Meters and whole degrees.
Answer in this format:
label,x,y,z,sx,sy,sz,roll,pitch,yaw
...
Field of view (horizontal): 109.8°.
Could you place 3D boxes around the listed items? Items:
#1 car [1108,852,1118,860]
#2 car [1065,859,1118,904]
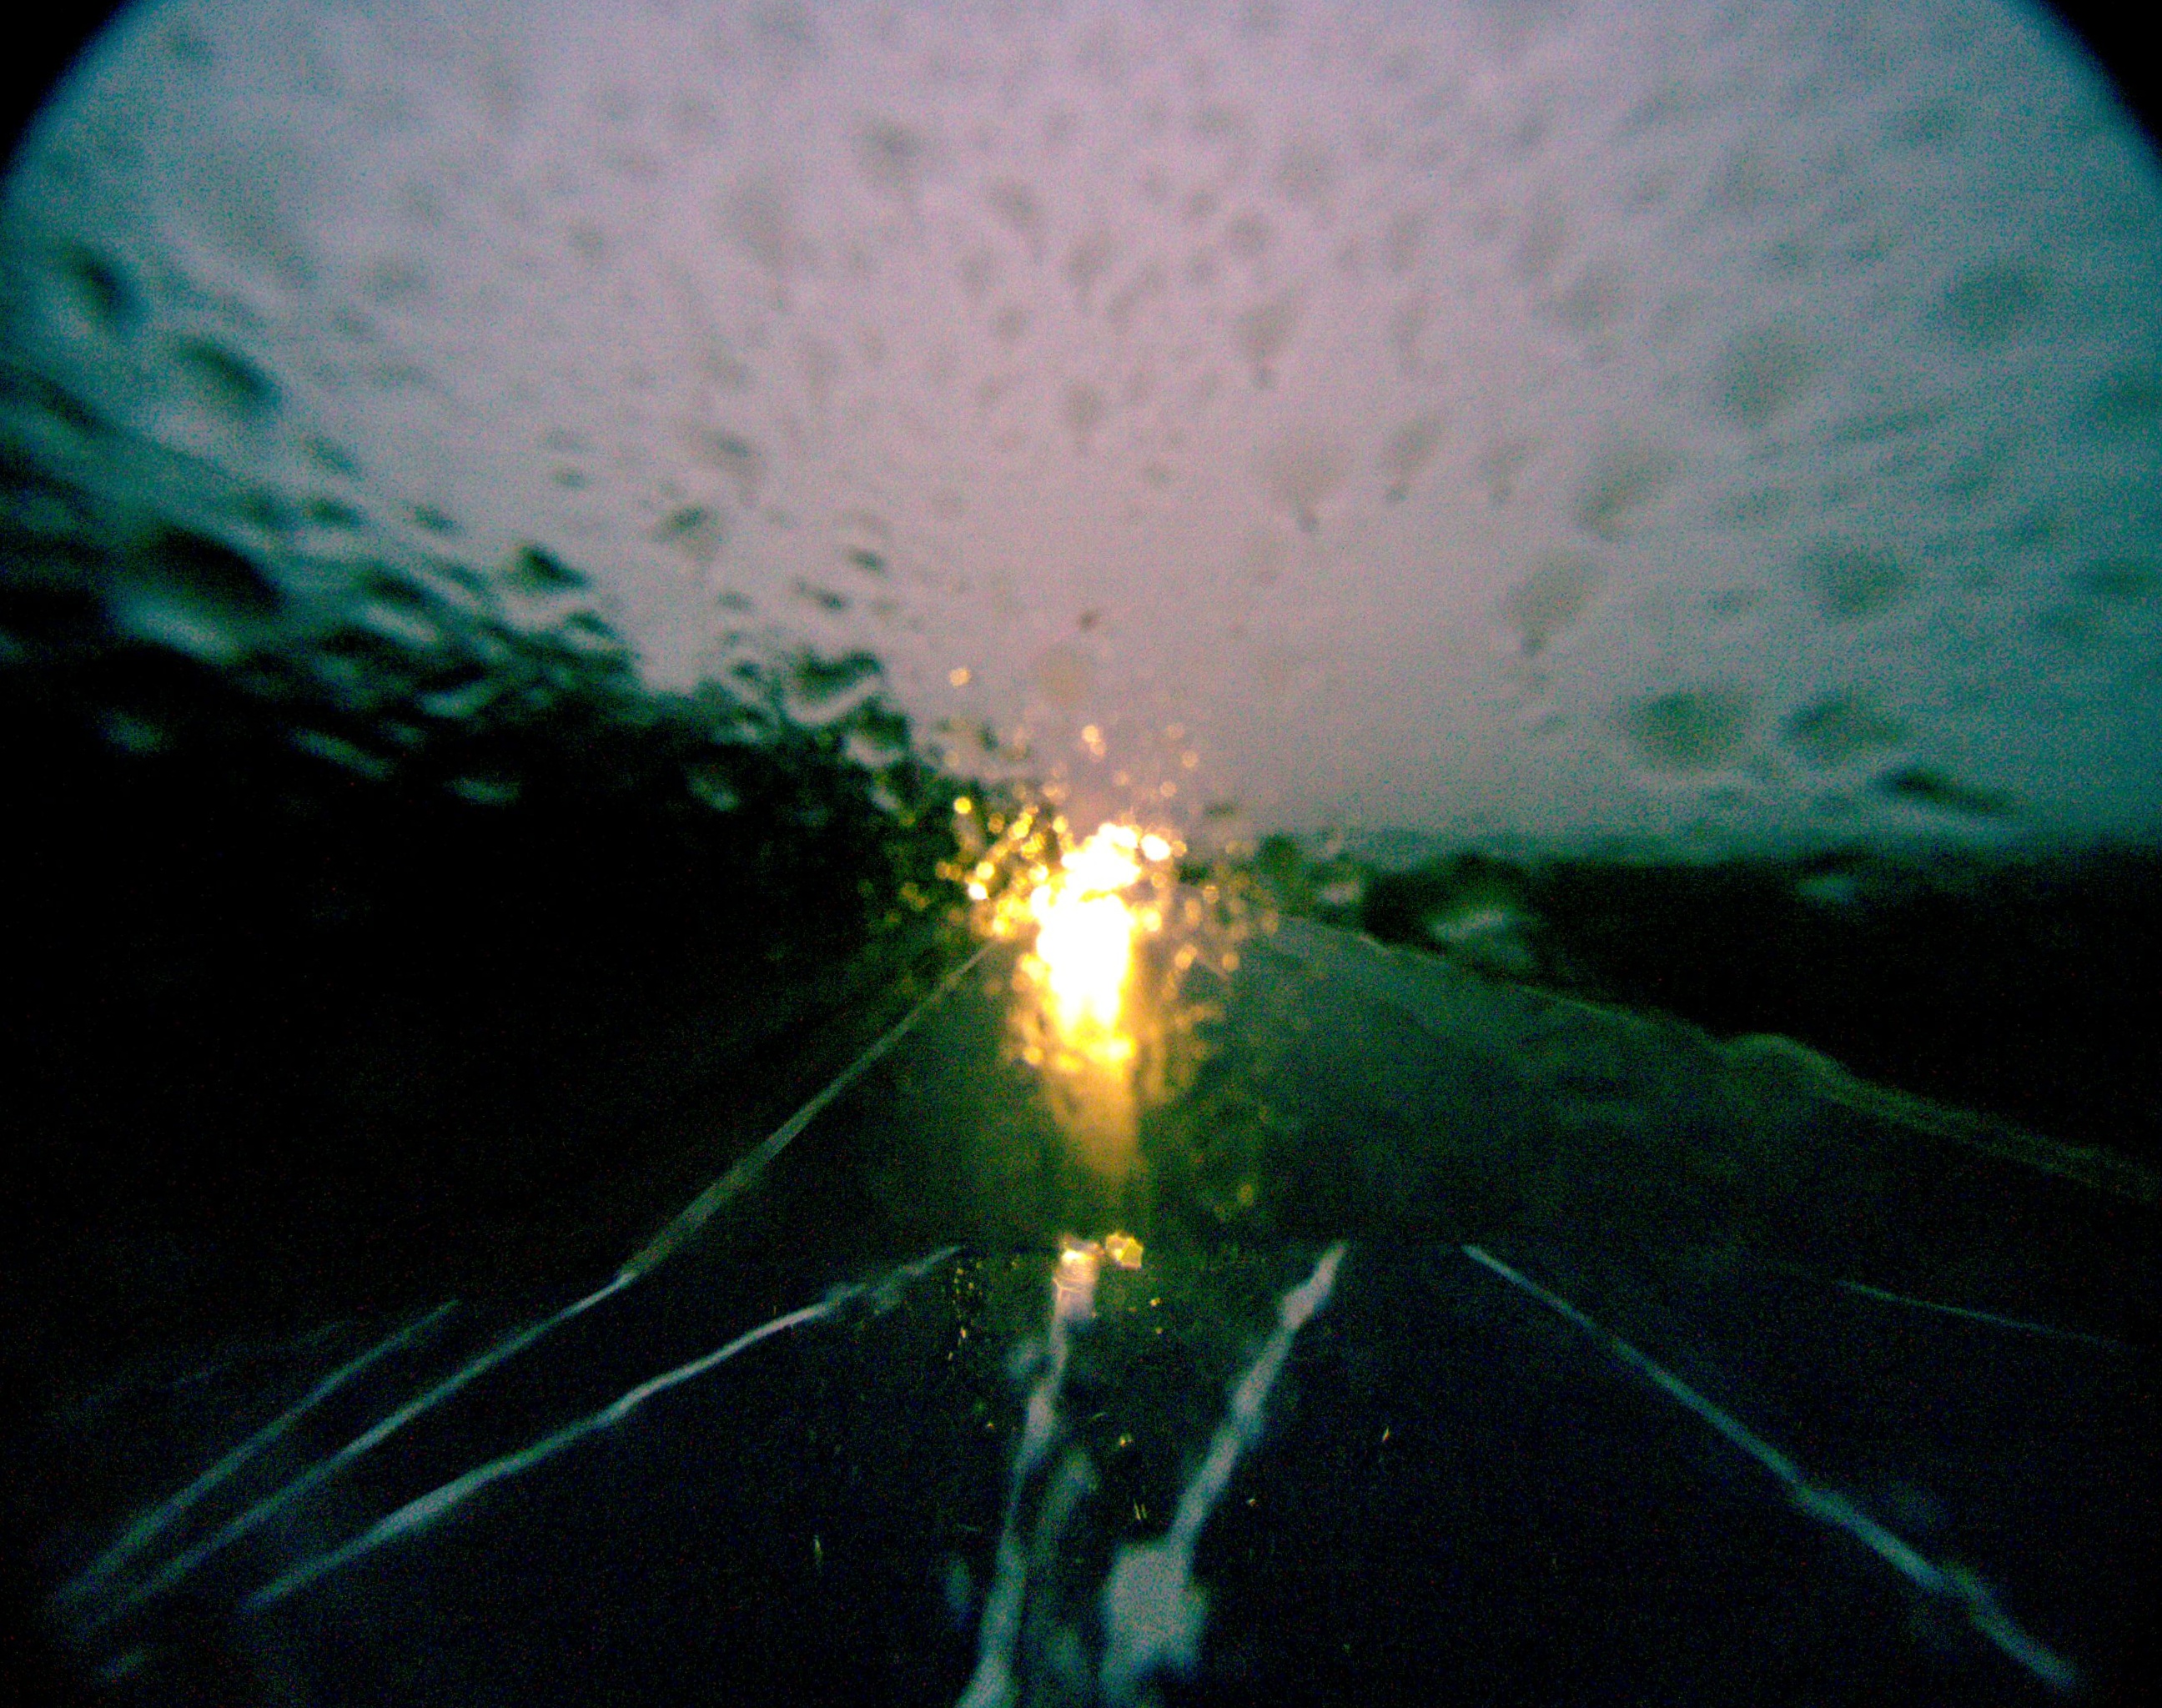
label,x,y,z,sx,sy,sz,roll,pitch,yaw
car,6.392,0.425,151.686,1.733,1.637,4.261,2,0,1
car,0.375,0.990,29.136,1.844,1.484,3.955,-2,1,0
